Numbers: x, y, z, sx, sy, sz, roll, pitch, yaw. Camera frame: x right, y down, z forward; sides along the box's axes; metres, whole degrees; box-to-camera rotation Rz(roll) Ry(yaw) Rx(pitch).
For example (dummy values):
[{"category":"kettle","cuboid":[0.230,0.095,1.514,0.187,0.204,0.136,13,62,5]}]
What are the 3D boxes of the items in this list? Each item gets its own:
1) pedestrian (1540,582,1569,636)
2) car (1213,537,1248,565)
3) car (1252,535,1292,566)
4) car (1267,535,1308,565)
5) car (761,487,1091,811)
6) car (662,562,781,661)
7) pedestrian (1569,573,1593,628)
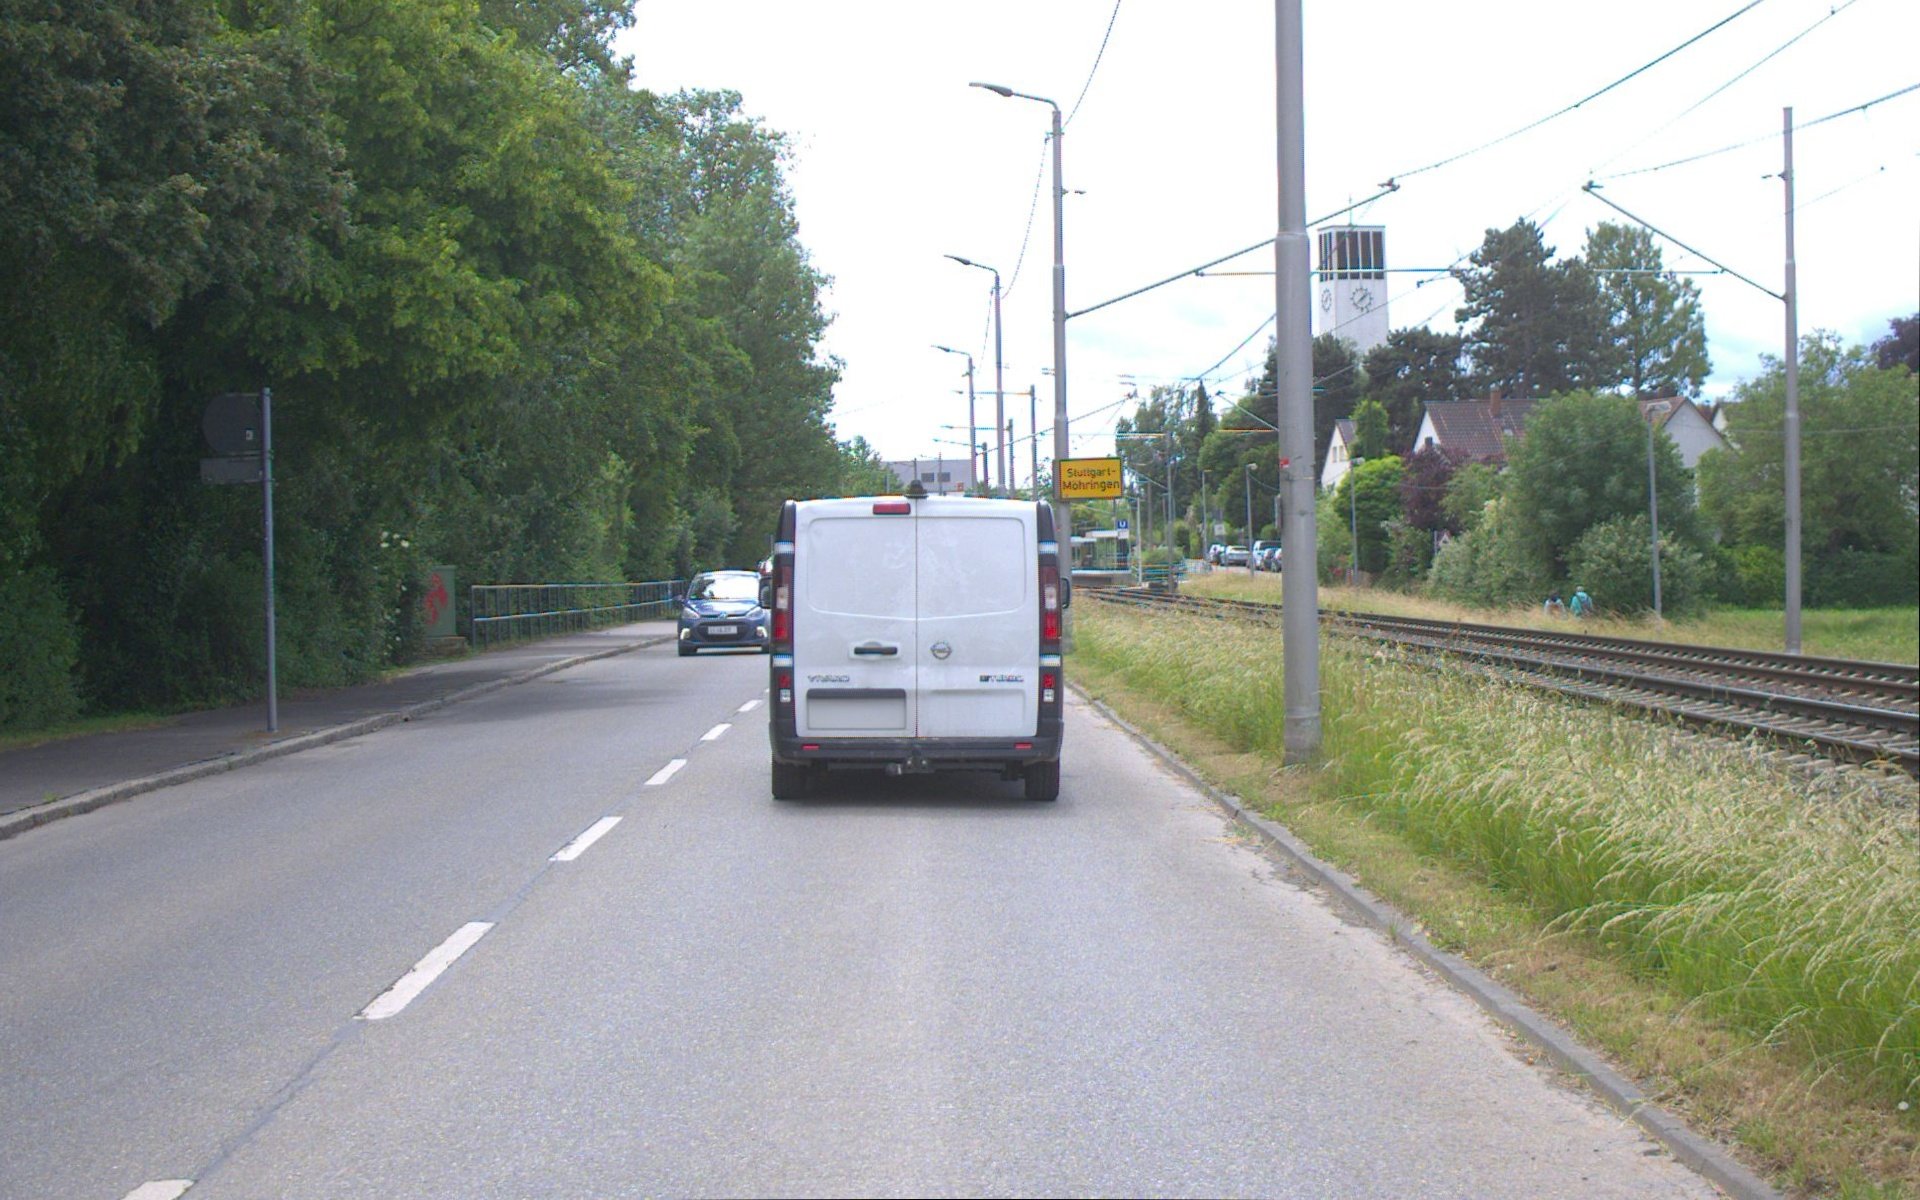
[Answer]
[{"category":"pedestrian","cuboid":[16.681,0.259,96.449,0.656,1.501,0.657,-1,0,-1]},{"category":"car","cuboid":[19.096,-3.451,242.736,1.993,1.810,4.000,1,-1,-2]},{"category":"car","cuboid":[19.599,-3.084,216.227,1.993,1.810,4.000,1,-1,-2]},{"category":"car","cuboid":[20.025,-3.067,210.192,1.993,1.711,4.000,1,-1,-2]},{"category":"car","cuboid":[-0.268,0.258,22.958,1.993,1.950,4.001,-1,1,-2]},{"category":"car","cuboid":[-4.263,0.186,61.989,1.993,1.711,4.124,-1,0,-2]},{"category":"pedestrian","cuboid":[17.385,0.012,96.255,0.526,1.501,0.657,-1,0,-1]}]
